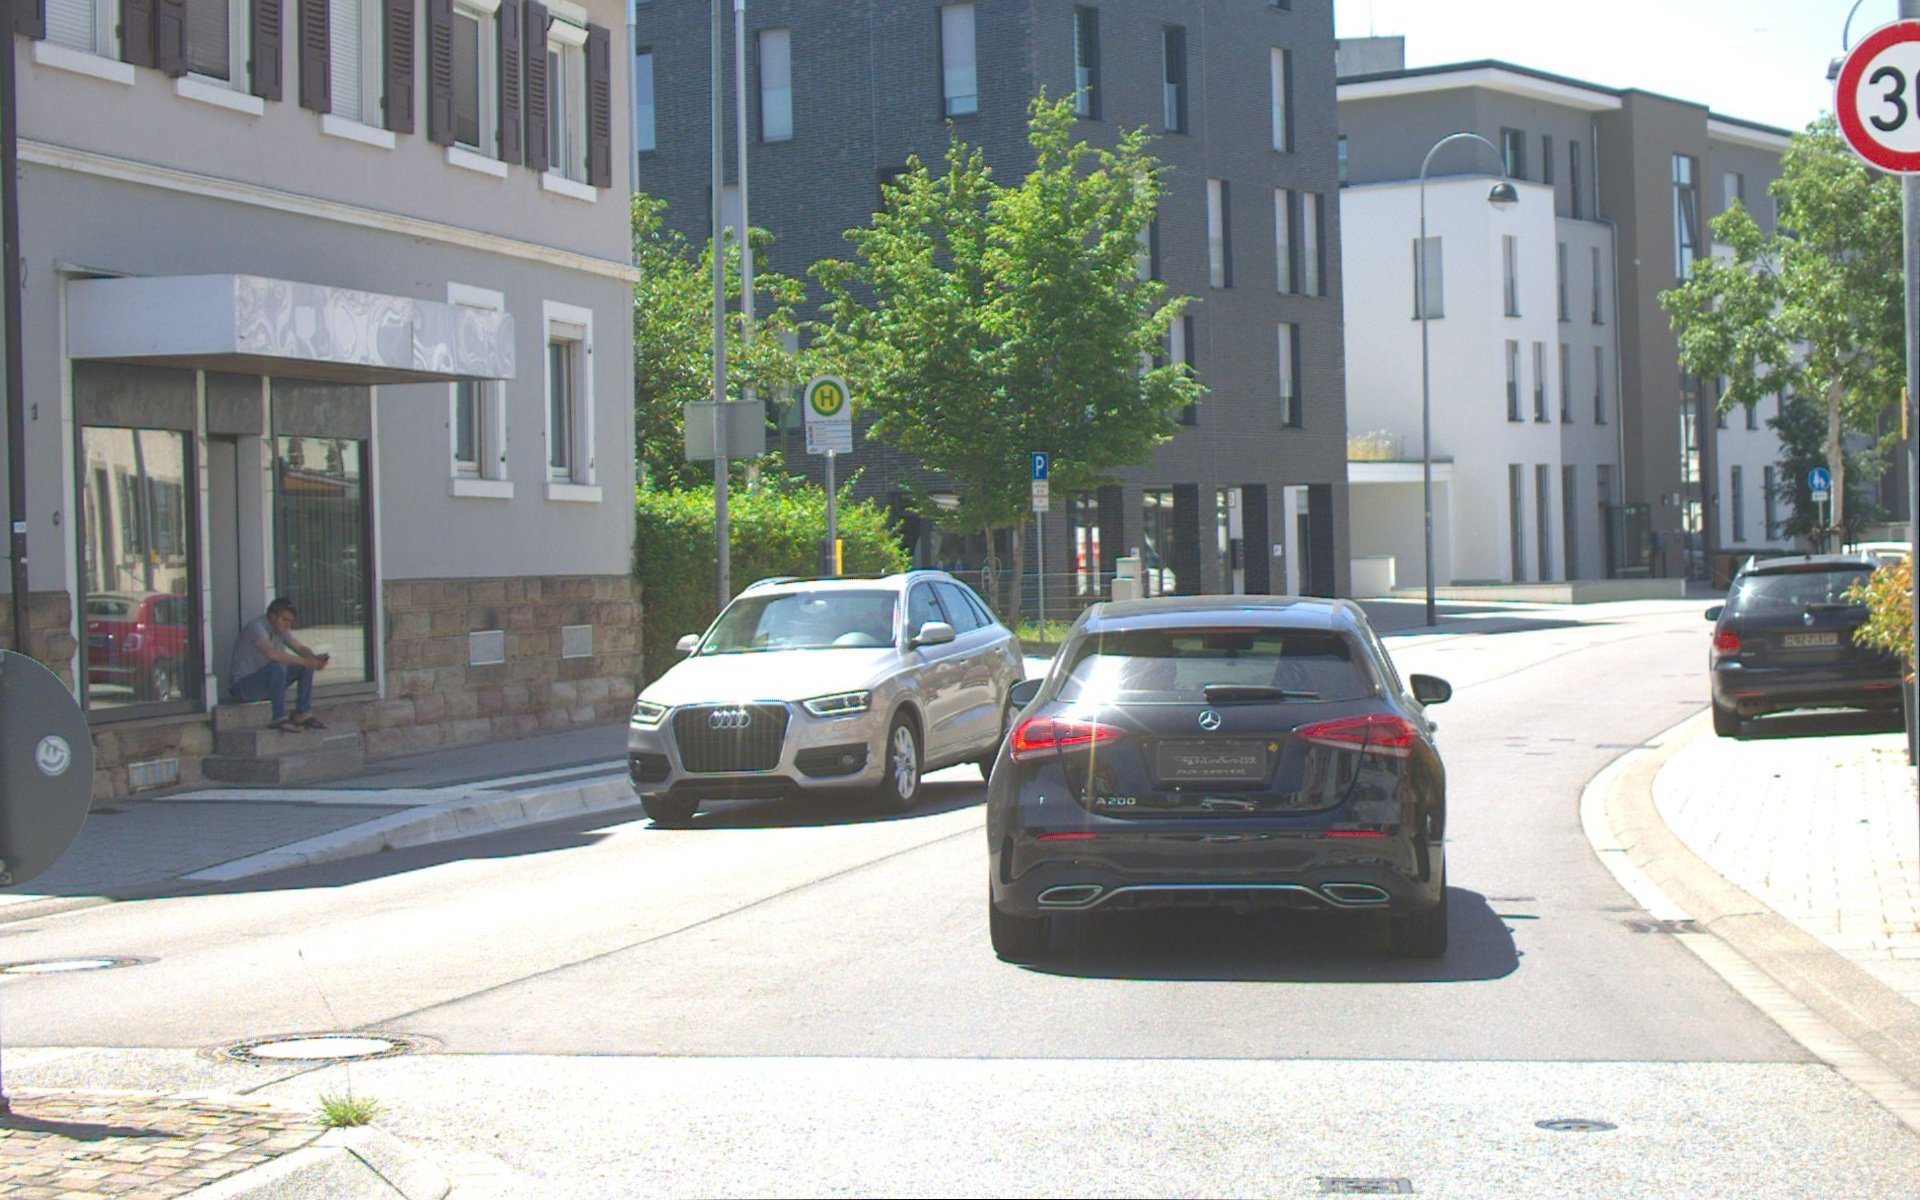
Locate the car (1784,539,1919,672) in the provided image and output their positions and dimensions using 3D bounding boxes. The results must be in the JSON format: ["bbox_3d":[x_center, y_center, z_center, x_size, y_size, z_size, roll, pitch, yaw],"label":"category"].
[{"bbox_3d":[11.130,0.049,42.720,1.607,1.525,3.490,-3,0,15],"label":"car"}]

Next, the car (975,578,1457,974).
[{"bbox_3d":[1.166,0.668,14.933,1.763,1.452,4.437,-1,0,6],"label":"car"}]

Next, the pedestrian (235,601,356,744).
[{"bbox_3d":[-5.017,0.542,26.000,0.670,1.051,0.699,-1,1,12],"label":"pedestrian"}]

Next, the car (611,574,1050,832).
[{"bbox_3d":[-0.785,0.642,23.639,1.676,1.537,4.080,-3,0,18],"label":"car"}]

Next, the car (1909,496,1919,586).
[{"bbox_3d":[22.958,-1.354,78.118,1.996,2.007,3.995,0,1,25],"label":"car"}]

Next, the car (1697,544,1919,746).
[{"bbox_3d":[7.425,0.340,29.525,1.751,1.481,3.997,-5,-1,16],"label":"car"}]
